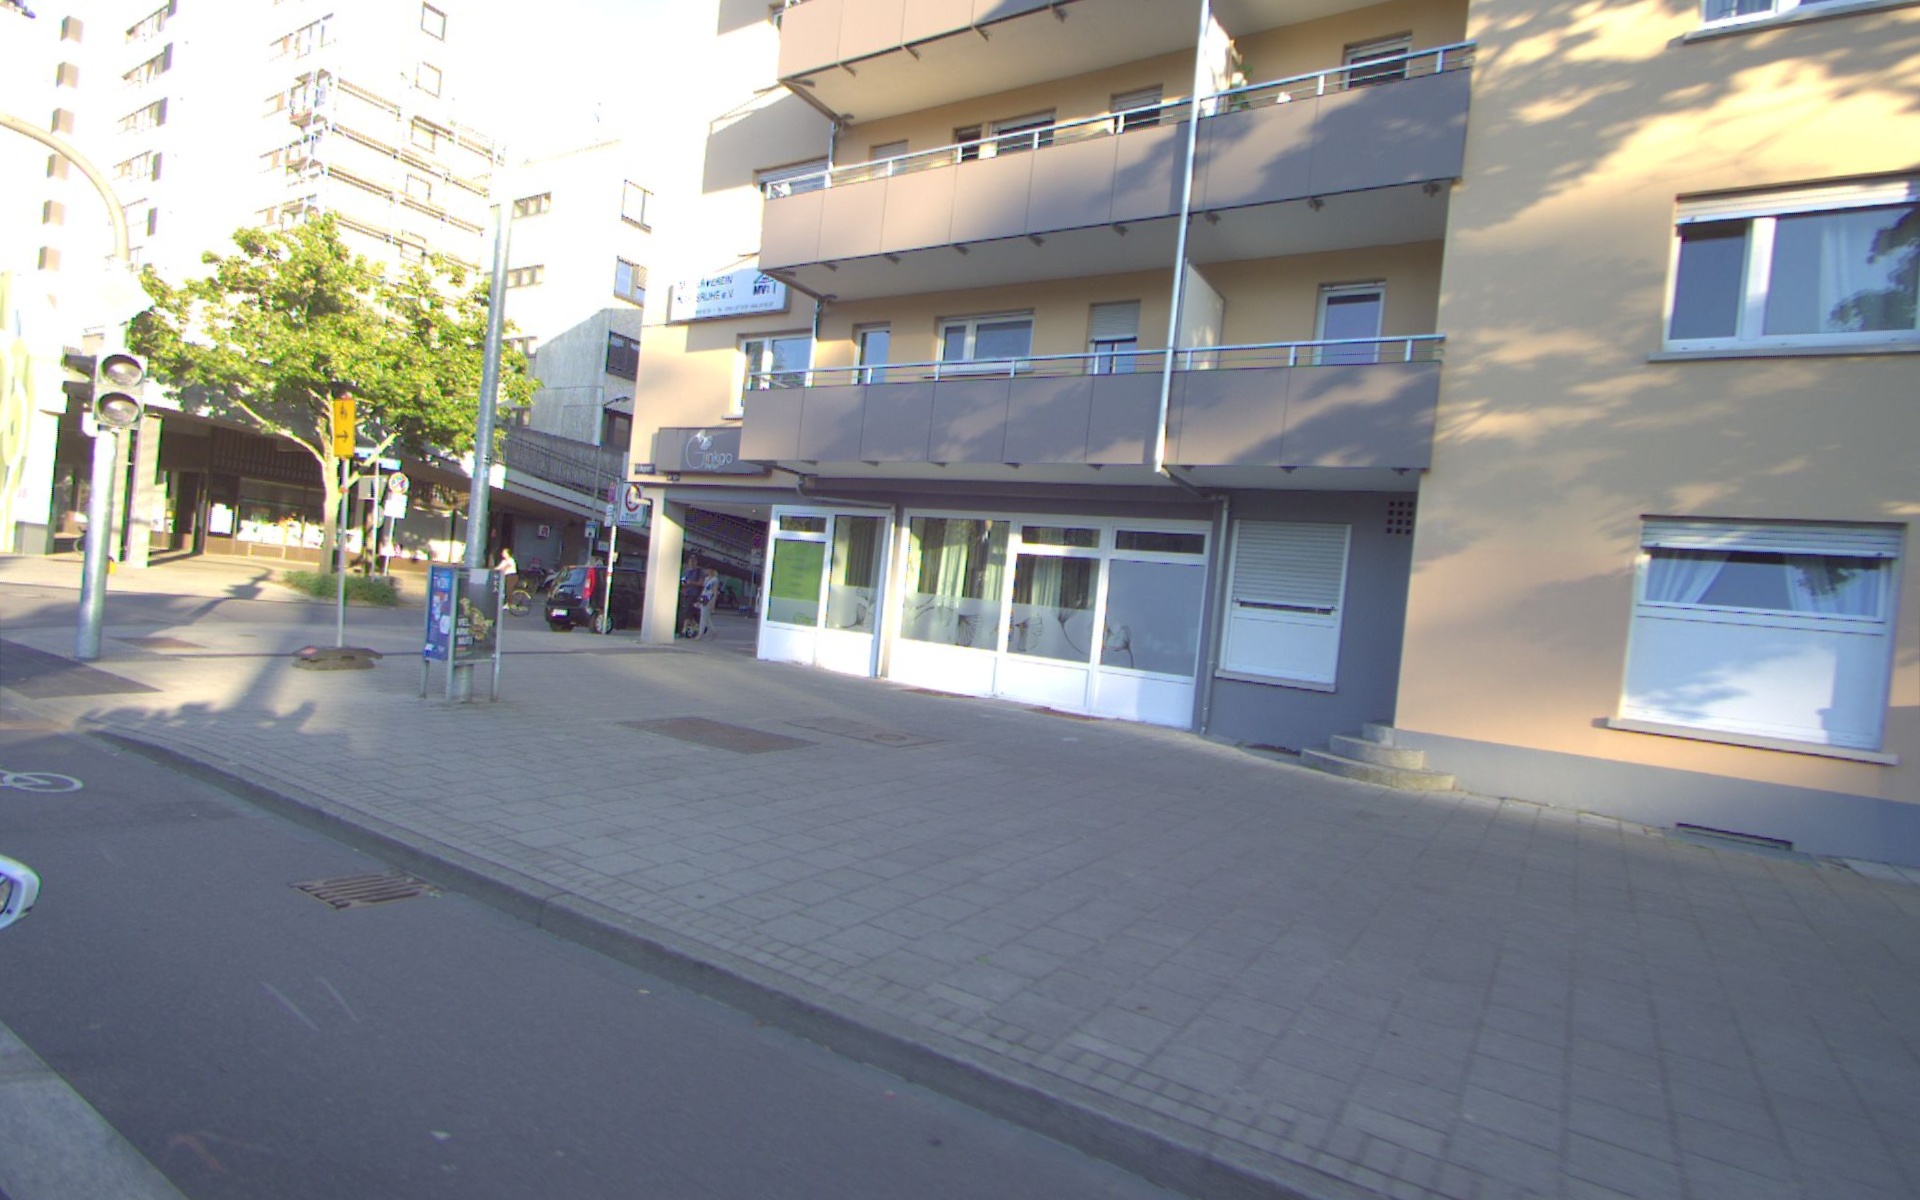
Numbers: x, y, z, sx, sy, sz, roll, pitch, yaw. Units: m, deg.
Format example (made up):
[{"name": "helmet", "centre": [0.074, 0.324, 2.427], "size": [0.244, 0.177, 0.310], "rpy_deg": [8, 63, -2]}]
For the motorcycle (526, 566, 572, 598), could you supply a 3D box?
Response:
[{"name": "motorcycle", "centre": [-16.379, -0.710, 40.090], "size": [1.847, 1.086, 0.646], "rpy_deg": [5, -3, 34]}]

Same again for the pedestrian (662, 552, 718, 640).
[{"name": "pedestrian", "centre": [-6.038, -0.080, 22.483], "size": [0.639, 1.851, 0.833], "rpy_deg": [6, 1, 41]}]

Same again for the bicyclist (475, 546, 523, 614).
[{"name": "bicyclist", "centre": [-12.361, -0.534, 26.973], "size": [0.643, 1.702, 0.817], "rpy_deg": [6, 1, 36]}]

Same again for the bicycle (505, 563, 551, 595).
[{"name": "bicycle", "centre": [-17.071, -0.820, 39.727], "size": [1.946, 1.086, 0.582], "rpy_deg": [5, -3, 34]}]

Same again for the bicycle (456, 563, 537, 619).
[{"name": "bicycle", "centre": [-12.400, -0.230, 26.972], "size": [0.643, 1.326, 1.781], "rpy_deg": [6, 0, 36]}]

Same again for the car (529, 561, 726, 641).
[{"name": "car", "centre": [-7.511, 0.070, 23.078], "size": [1.680, 1.605, 4.038], "rpy_deg": [2, -1, 36]}]

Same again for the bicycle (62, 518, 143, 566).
[{"name": "bicycle", "centre": [-25.724, -1.745, 30.181], "size": [1.984, 1.162, 0.692], "rpy_deg": [6, -3, 13]}]

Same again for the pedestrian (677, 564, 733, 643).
[{"name": "pedestrian", "centre": [-5.530, 0.089, 21.810], "size": [0.637, 1.606, 0.836], "rpy_deg": [6, 1, 30]}]
